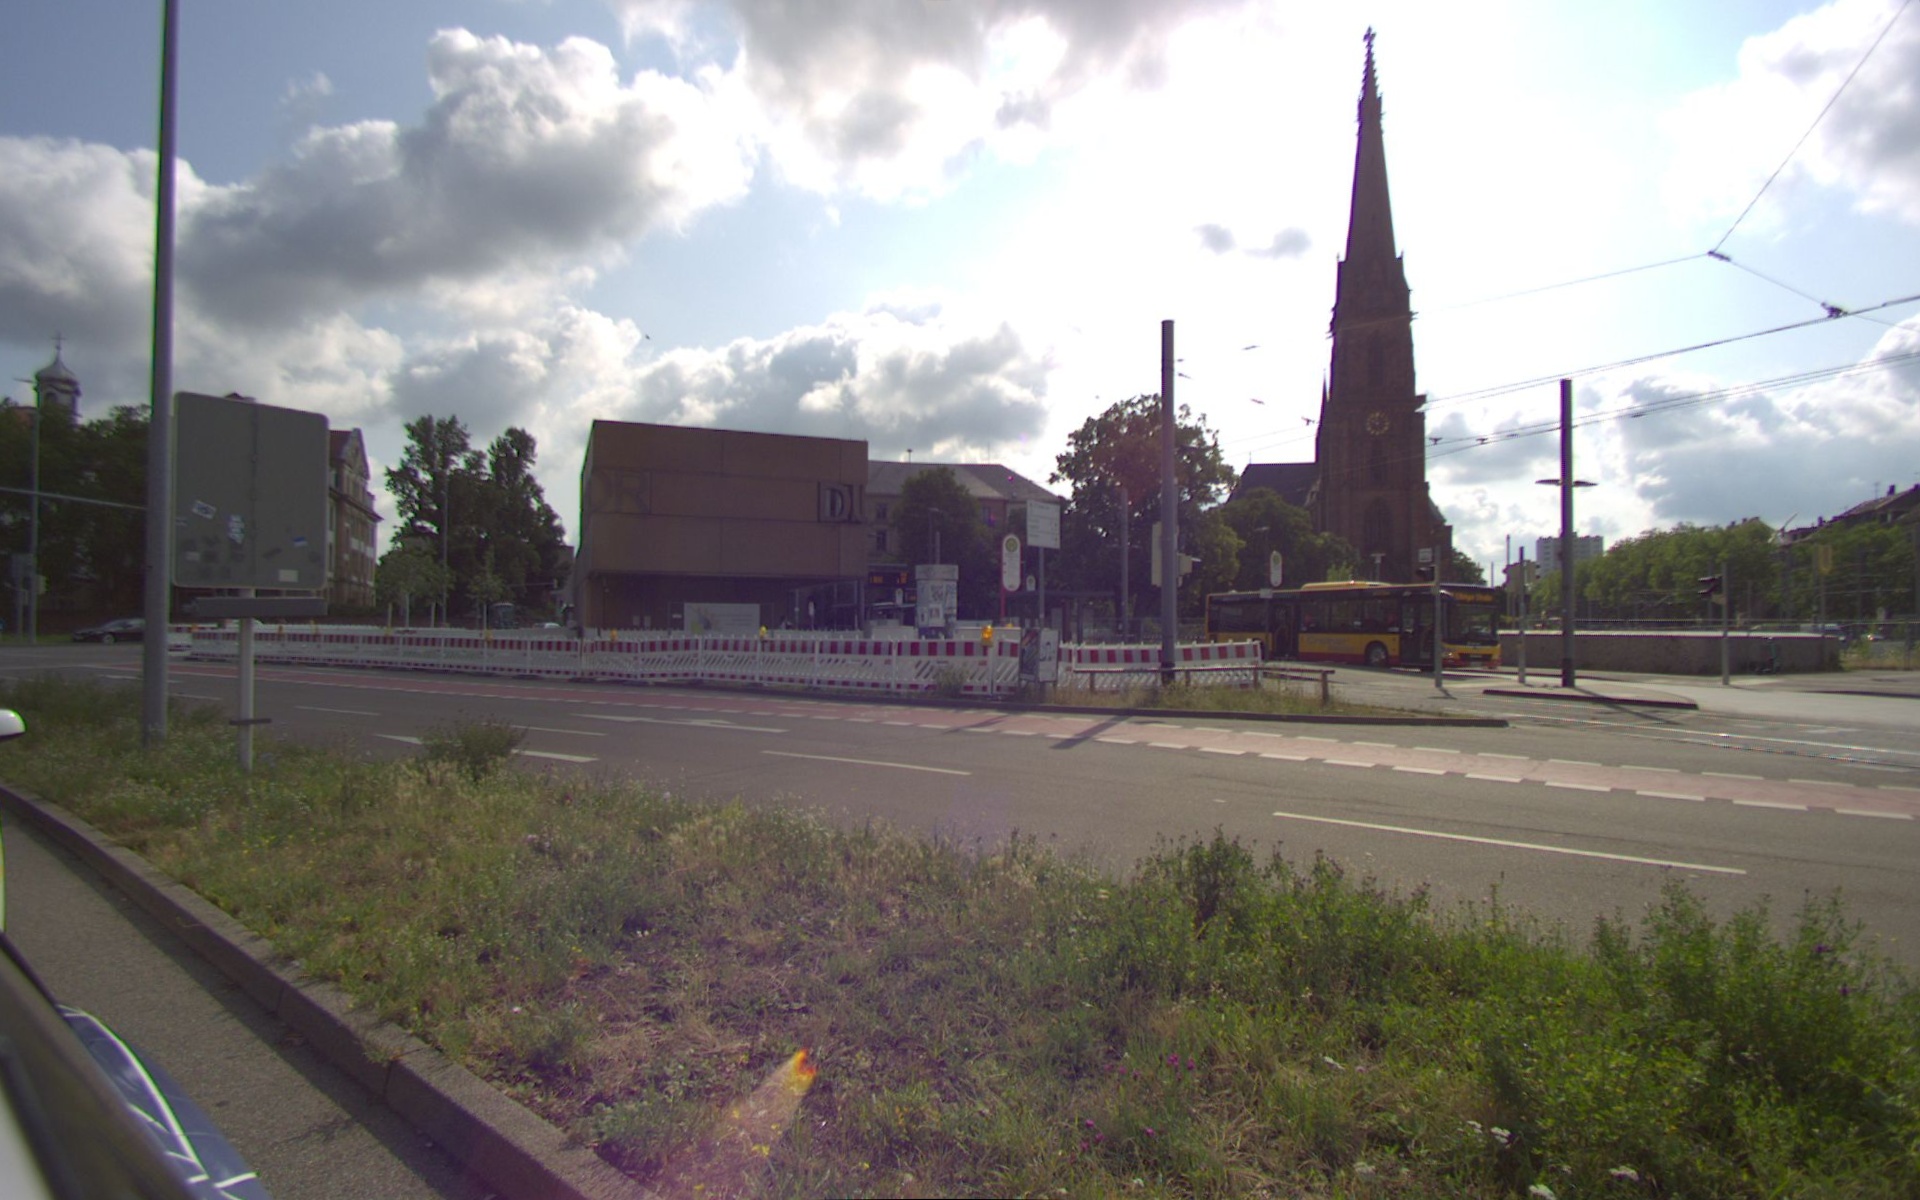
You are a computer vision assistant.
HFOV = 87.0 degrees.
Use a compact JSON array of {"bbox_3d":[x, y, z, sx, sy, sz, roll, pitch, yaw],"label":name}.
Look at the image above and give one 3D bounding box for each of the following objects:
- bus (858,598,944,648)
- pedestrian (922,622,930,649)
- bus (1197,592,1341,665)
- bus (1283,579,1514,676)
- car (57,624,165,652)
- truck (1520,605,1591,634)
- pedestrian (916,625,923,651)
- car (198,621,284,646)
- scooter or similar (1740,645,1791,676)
[{"bbox_3d":[-4.798,1.804,78.547,2.913,3.534,12.293,1,-2,-22],"label":"bus"},{"bbox_3d":[-2.109,2.192,62.618,0.352,1.614,0.365,1,-2,-28],"label":"pedestrian"},{"bbox_3d":[11.802,1.106,39.138,2.654,2.607,5.094,1,-2,-23],"label":"bus"},{"bbox_3d":[14.183,0.909,33.483,2.653,2.855,7.123,1,-2,-23],"label":"bus"},{"bbox_3d":[-44.106,1.980,52.696,1.741,1.401,4.115,-1,-2,11],"label":"car"},{"bbox_3d":[75.808,2.473,129.039,7.393,3.676,2.455,-1,-2,20],"label":"truck"},{"bbox_3d":[-2.493,2.321,62.244,0.352,1.614,0.365,1,-2,-28],"label":"pedestrian"},{"bbox_3d":[-42.617,1.976,60.091,1.741,1.401,4.115,-1,-2,11],"label":"car"},{"bbox_3d":[25.690,1.925,32.268,1.635,0.957,0.475,2,-1,-20],"label":"scooter or similar"}]
